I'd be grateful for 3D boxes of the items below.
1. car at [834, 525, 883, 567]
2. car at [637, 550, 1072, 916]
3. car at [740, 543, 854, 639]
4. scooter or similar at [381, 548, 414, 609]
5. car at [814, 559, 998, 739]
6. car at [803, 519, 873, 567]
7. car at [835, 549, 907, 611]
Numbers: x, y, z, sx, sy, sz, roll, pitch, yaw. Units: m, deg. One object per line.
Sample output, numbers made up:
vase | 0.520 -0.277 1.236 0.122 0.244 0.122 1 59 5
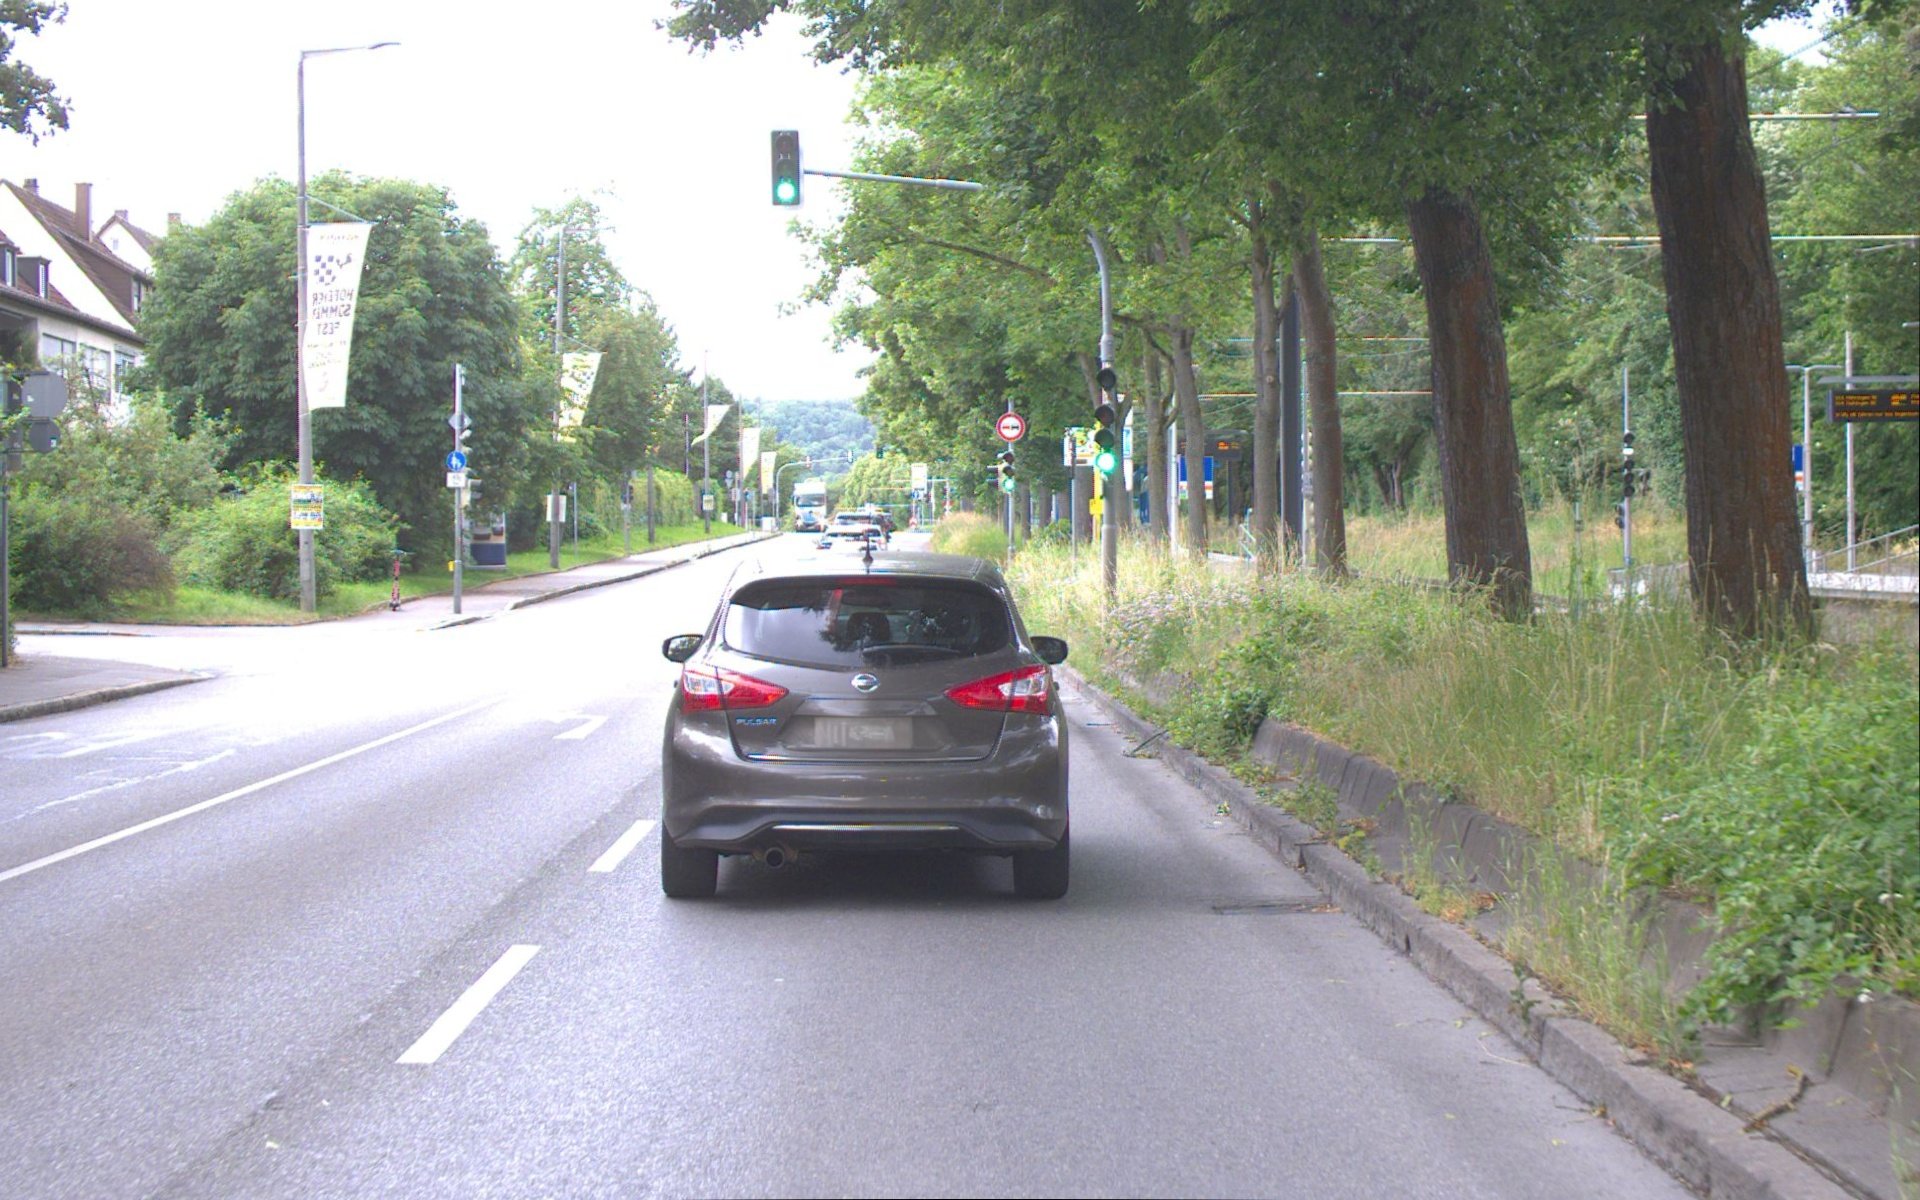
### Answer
car | -3.550 -1.899 120.851 1.691 1.436 3.542 0 1 -1
car | -0.456 0.521 15.981 1.783 1.501 3.696 0 1 -1
car | -2.535 -0.170 53.997 1.691 1.436 3.542 0 1 -1
scooter or similar | -11.802 -0.458 72.148 0.462 1.254 1.426 0 1 0
car | -0.481 0.378 29.869 1.502 1.436 3.542 0 1 -1
car | -3.656 -1.703 103.393 1.993 1.316 4.000 2 0 -1
car | -2.127 -0.506 82.738 1.691 1.436 3.542 0 1 -1
